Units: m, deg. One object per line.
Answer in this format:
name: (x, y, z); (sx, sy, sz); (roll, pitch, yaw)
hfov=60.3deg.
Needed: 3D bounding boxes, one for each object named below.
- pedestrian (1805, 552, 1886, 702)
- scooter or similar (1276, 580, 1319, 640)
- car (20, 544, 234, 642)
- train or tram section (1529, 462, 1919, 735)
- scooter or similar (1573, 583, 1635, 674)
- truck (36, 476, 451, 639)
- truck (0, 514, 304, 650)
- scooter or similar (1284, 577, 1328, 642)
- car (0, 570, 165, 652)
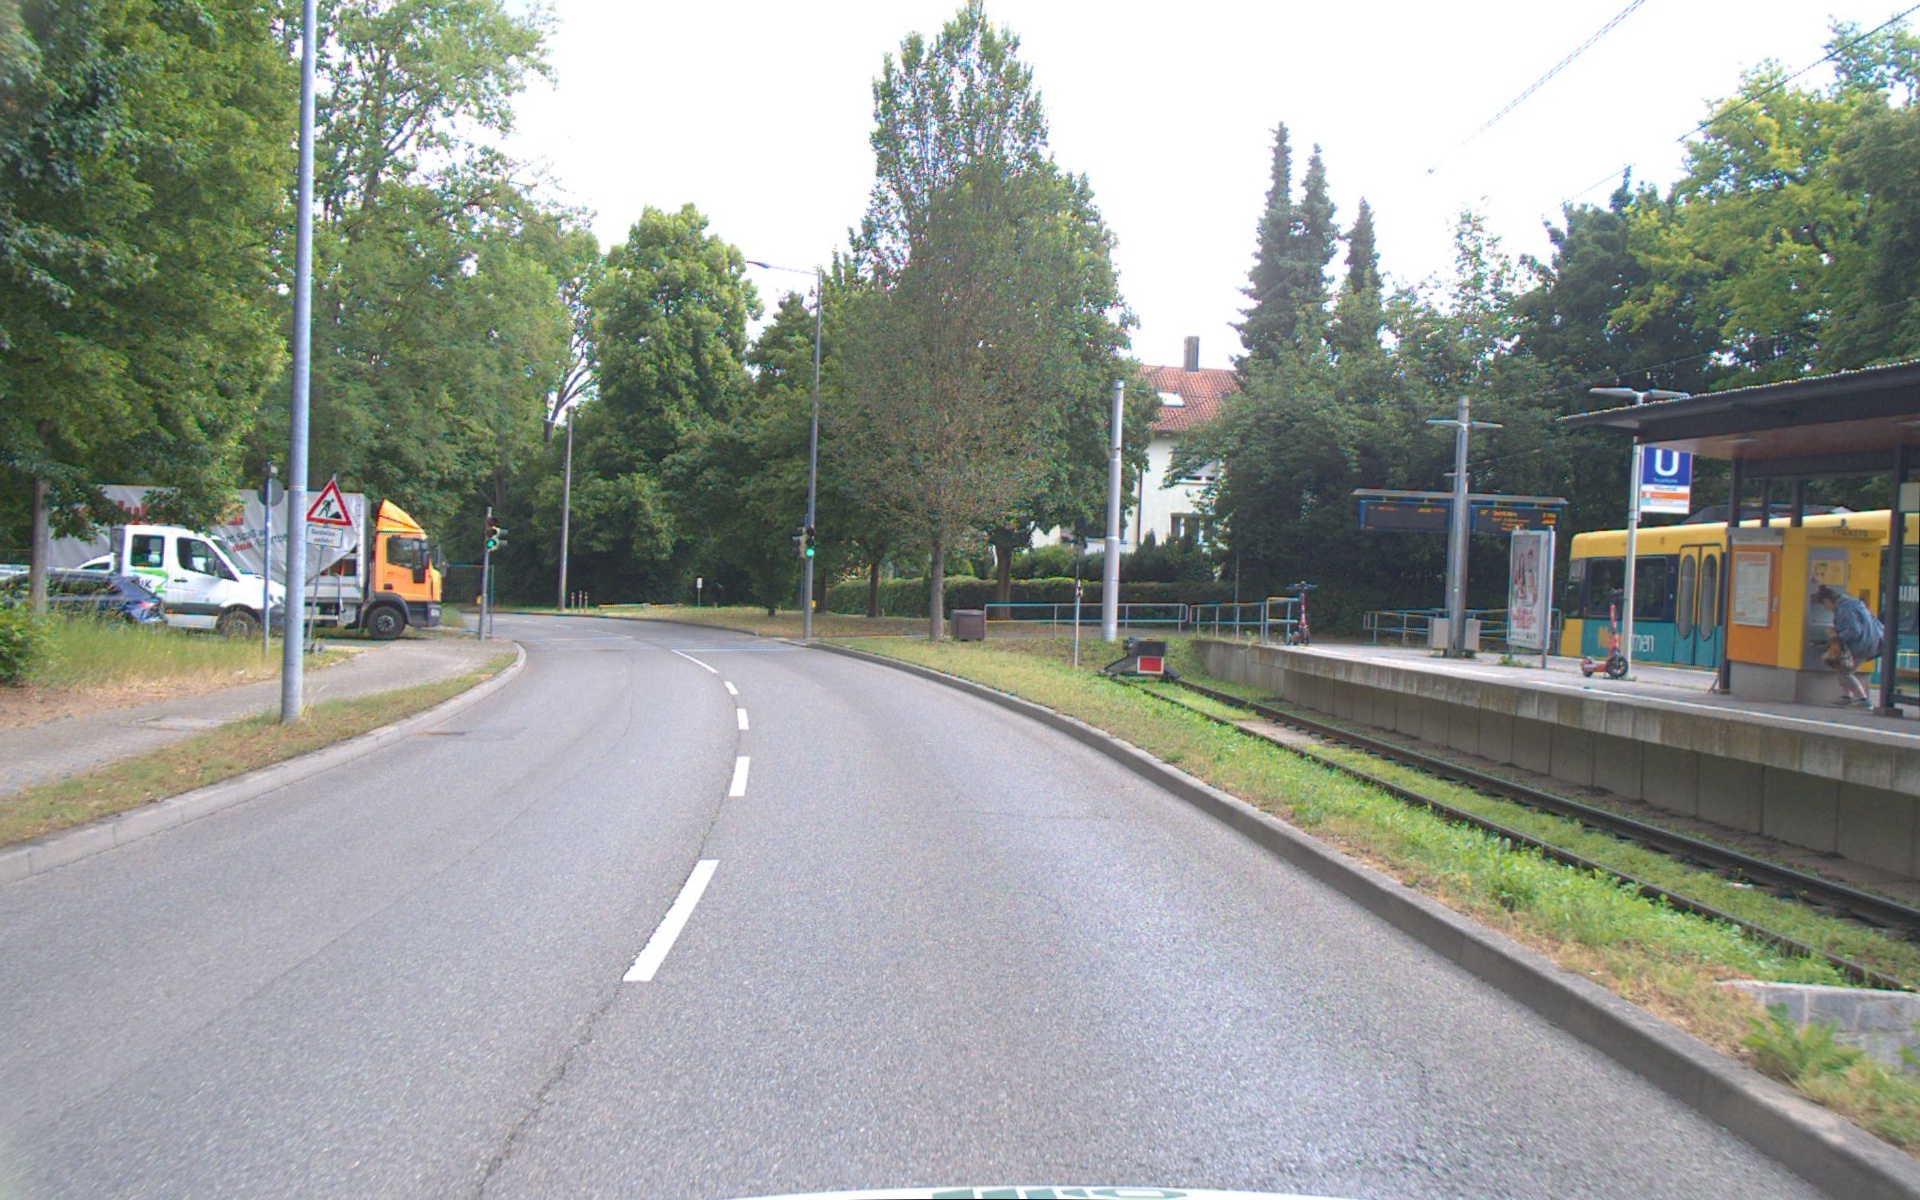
pedestrian: (9.738, 0.293, 18.208); (0.609, 1.600, 0.665); (1, 0, 15)
scooter or similar: (7.335, 0.222, 35.969); (0.422, 1.275, 1.250); (1, -2, -15)
car: (-18.459, -0.146, 36.841); (3.926, 1.942, 1.773); (3, 0, -19)
train or tram section: (14.038, -0.009, 25.448); (2.757, 3.651, 19.503); (3, 1, -3)
scooter or similar: (9.227, 0.395, 23.729); (0.361, 1.264, 1.145); (1, 0, -3)
truck: (-17.460, -0.955, 41.066); (9.083, 3.593, 2.553); (2, -1, -17)
truck: (-17.089, -0.343, 34.228); (6.289, 2.458, 2.112); (3, -1, -19)
scooter or similar: (6.967, 0.204, 33.322); (0.422, 1.275, 1.251); (1, -1, -11)
car: (-16.416, 0.208, 29.514); (3.935, 1.350, 1.704); (2, -3, -25)
